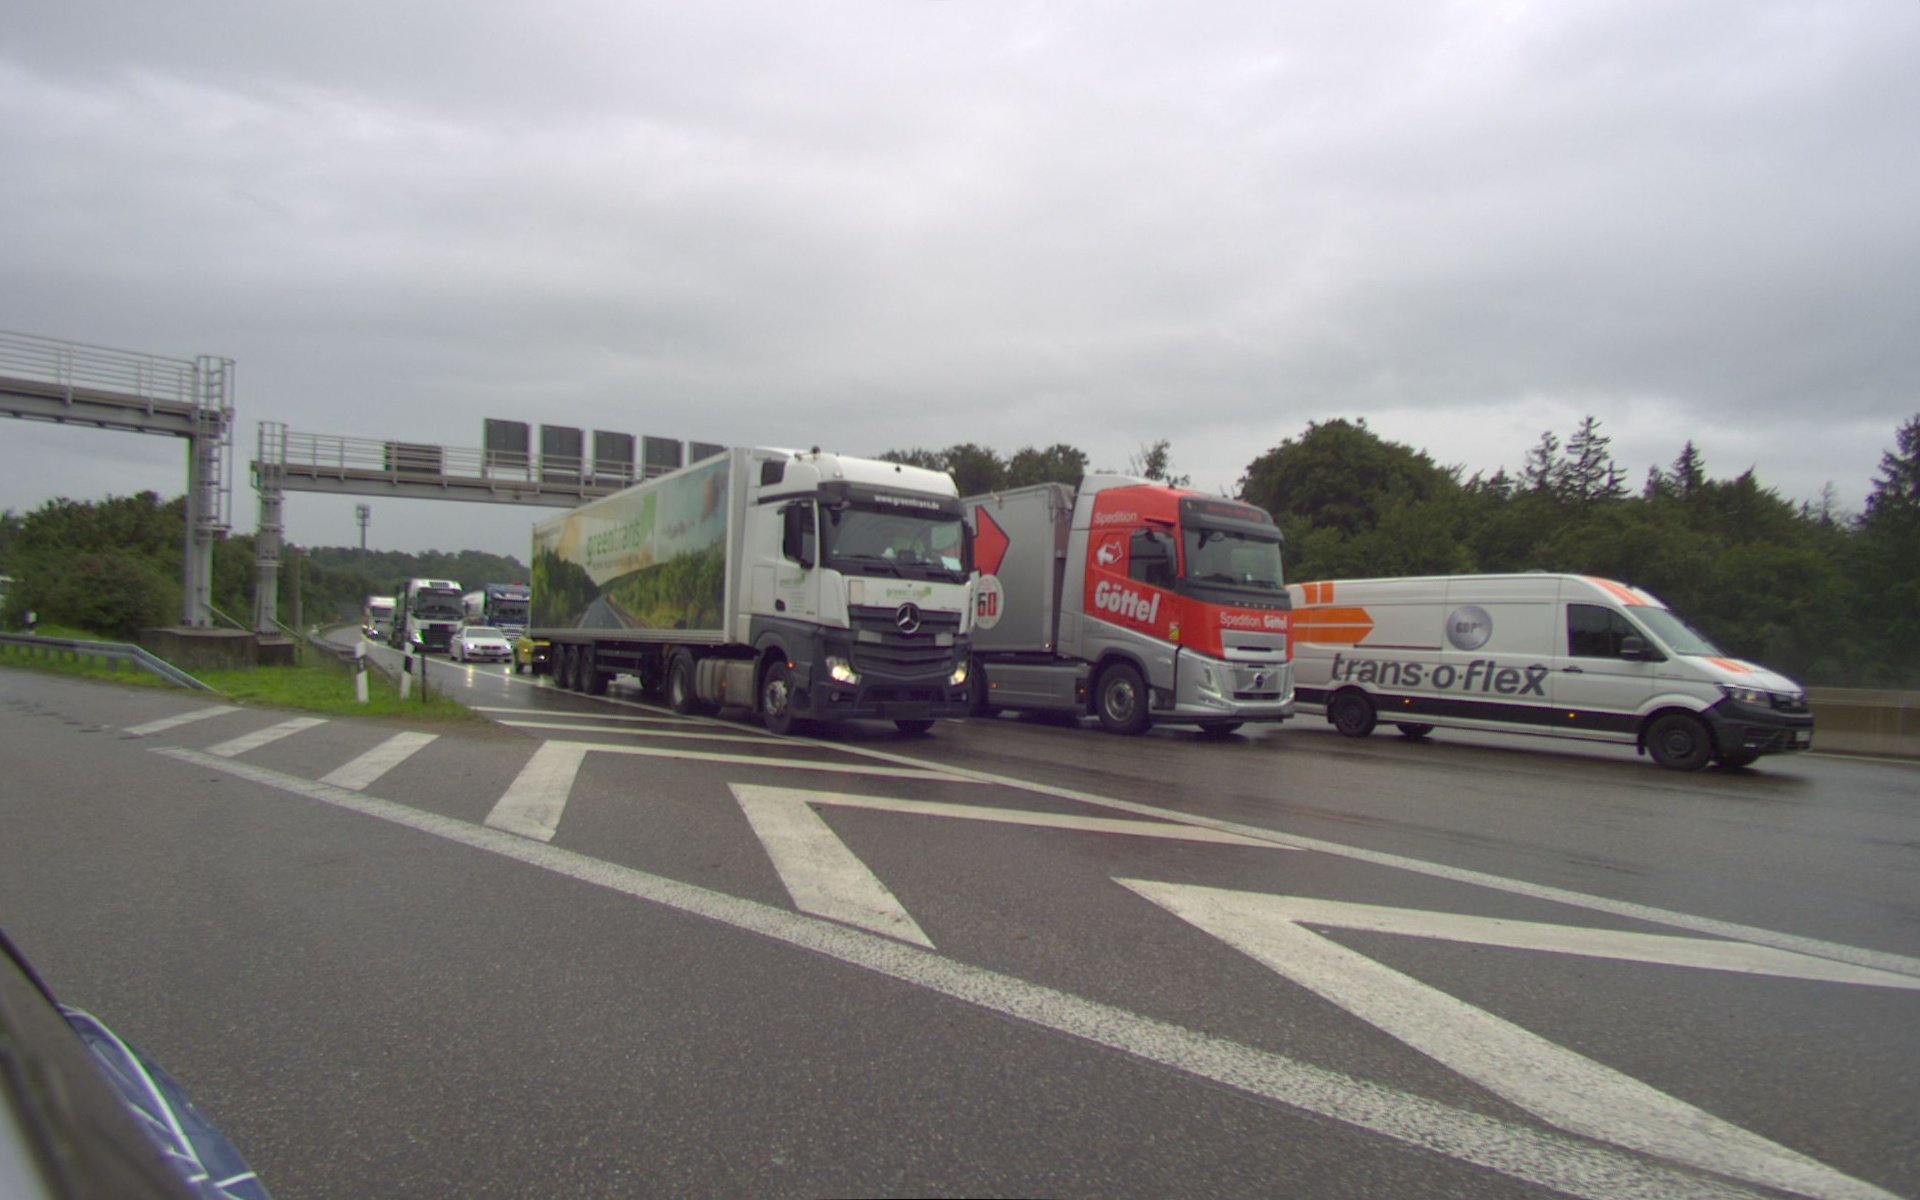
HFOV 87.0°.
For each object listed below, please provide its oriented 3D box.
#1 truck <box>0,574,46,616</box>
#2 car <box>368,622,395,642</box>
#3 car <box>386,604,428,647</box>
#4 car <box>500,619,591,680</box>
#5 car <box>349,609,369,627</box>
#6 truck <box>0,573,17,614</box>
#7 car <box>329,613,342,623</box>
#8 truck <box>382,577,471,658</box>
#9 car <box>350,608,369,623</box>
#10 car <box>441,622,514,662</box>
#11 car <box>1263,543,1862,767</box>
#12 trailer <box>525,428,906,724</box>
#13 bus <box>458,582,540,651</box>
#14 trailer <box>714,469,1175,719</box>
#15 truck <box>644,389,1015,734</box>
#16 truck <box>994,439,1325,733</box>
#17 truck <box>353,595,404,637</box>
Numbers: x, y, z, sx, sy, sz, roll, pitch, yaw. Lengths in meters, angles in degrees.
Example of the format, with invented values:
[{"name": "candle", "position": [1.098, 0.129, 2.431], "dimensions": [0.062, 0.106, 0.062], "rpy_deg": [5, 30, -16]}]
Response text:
[{"name": "truck", "position": [-102.819, -0.511, 109.266], "dimensions": [5.748, 4.420, 3.237], "rpy_deg": [1, -1, 9]}, {"name": "car", "position": [-50.497, 2.775, 88.284], "dimensions": [1.789, 1.697, 4.010], "rpy_deg": [0, -1, -34]}, {"name": "car", "position": [-38.770, 1.706, 70.888], "dimensions": [2.330, 2.663, 6.918], "rpy_deg": [-2, 1, -30]}, {"name": "car", "position": [-13.399, 1.538, 32.587], "dimensions": [1.770, 1.807, 4.249], "rpy_deg": [2, -2, -36]}, {"name": "car", "position": [-75.035, 2.244, 126.241], "dimensions": [1.966, 2.178, 4.456], "rpy_deg": [1, -2, -33]}, {"name": "truck", "position": [-99.223, -0.759, 100.990], "dimensions": [7.849, 4.122, 3.237], "rpy_deg": [1, -1, 9]}, {"name": "car", "position": [-108.368, 3.102, 175.663], "dimensions": [1.789, 1.770, 4.698], "rpy_deg": [1, -2, -33]}, {"name": "truck", "position": [-31.031, 0.842, 58.486], "dimensions": [3.301, 4.101, 12.607], "rpy_deg": [-2, 1, -33]}, {"name": "car", "position": [-70.924, 1.860, 119.549], "dimensions": [1.789, 1.770, 4.699], "rpy_deg": [0, -1, -32]}, {"name": "car", "position": [-19.869, 1.695, 41.585], "dimensions": [1.902, 1.534, 4.774], "rpy_deg": [2, -2, -35]}, {"name": "car", "position": [8.198, 0.703, 14.966], "dimensions": [2.119, 2.507, 7.383], "rpy_deg": [2, -2, -35]}, {"name": "trailer", "position": [-5.951, -0.243, 20.931], "dimensions": [2.879, 4.237, 13.670], "rpy_deg": [2, -2, -34]}, {"name": "bus", "position": [-28.444, 0.883, 62.116], "dimensions": [2.855, 3.796, 10.458], "rpy_deg": [-2, 1, -34]}, {"name": "trailer", "position": [-1.415, 0.073, 22.069], "dimensions": [2.592, 3.893, 13.707], "rpy_deg": [3, -3, -36]}, {"name": "truck", "position": [-2.370, -0.393, 15.685], "dimensions": [2.879, 4.130, 6.736], "rpy_deg": [2, -2, -34]}, {"name": "truck", "position": [2.991, -0.103, 16.017], "dimensions": [2.592, 3.893, 4.599], "rpy_deg": [3, -3, -36]}, {"name": "truck", "position": [-57.084, 1.467, 99.195], "dimensions": [3.481, 3.876, 9.460], "rpy_deg": [-2, 1, -35]}]
